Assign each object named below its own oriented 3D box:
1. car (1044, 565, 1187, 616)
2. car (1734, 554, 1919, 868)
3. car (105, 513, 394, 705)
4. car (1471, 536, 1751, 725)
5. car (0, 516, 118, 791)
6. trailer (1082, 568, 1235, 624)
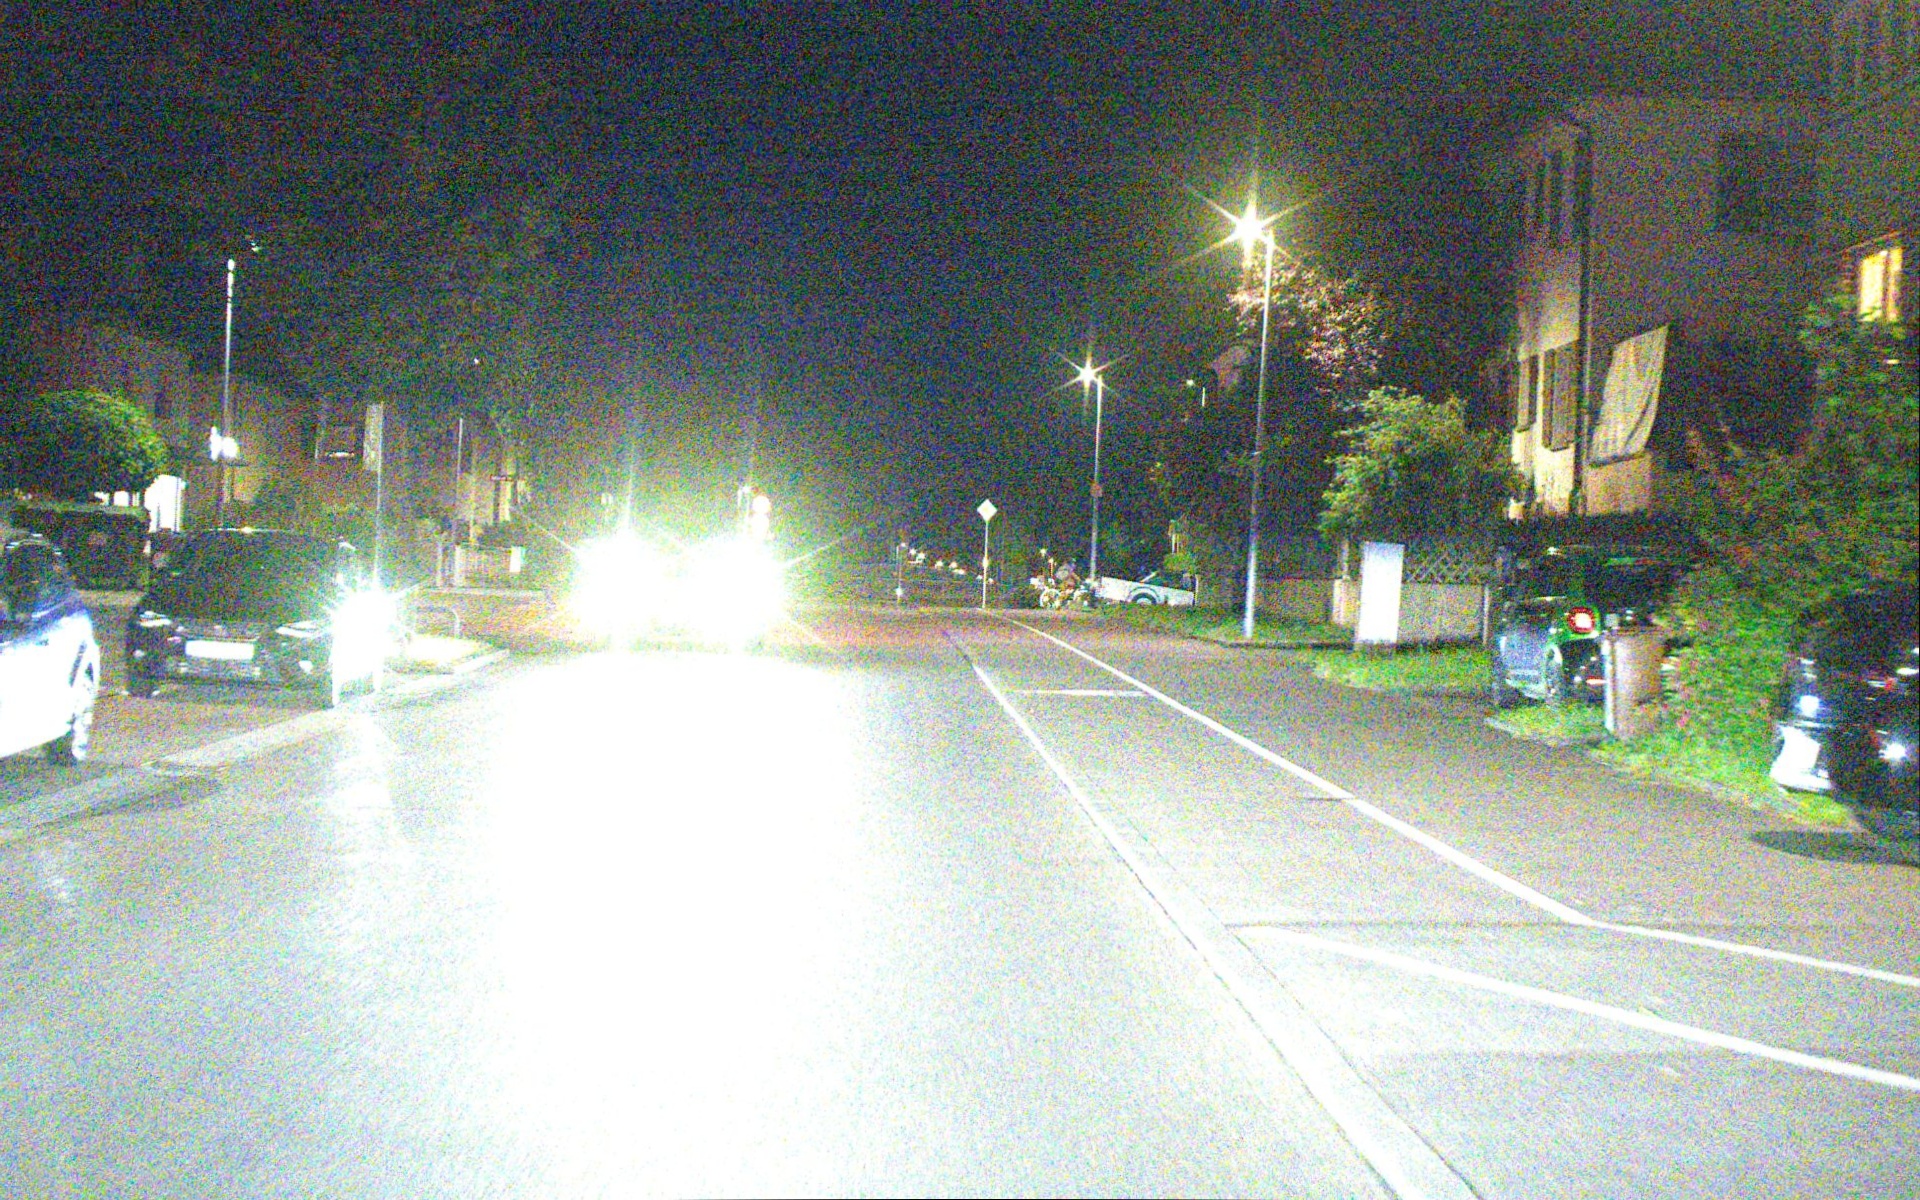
[{"bbox_3d":[3.872,-0.237,85.908,3.391,1.228,1.725,0,1,-3],"label":"car"},{"bbox_3d":[6.054,0.526,17.206,3.904,1.481,1.833,0,1,-1],"label":"car"},{"bbox_3d":[-6.045,0.039,29.654,1.749,1.463,4.009,3,1,-2],"label":"car"},{"bbox_3d":[5.763,0.226,30.806,1.639,1.554,3.679,1,1,-2],"label":"car"},{"bbox_3d":[-6.071,0.240,19.357,1.770,1.463,3.967,3,1,-2],"label":"car"},{"bbox_3d":[4.720,-0.101,82.167,3.432,0.999,1.954,5,0,-1],"label":"trailer"}]
